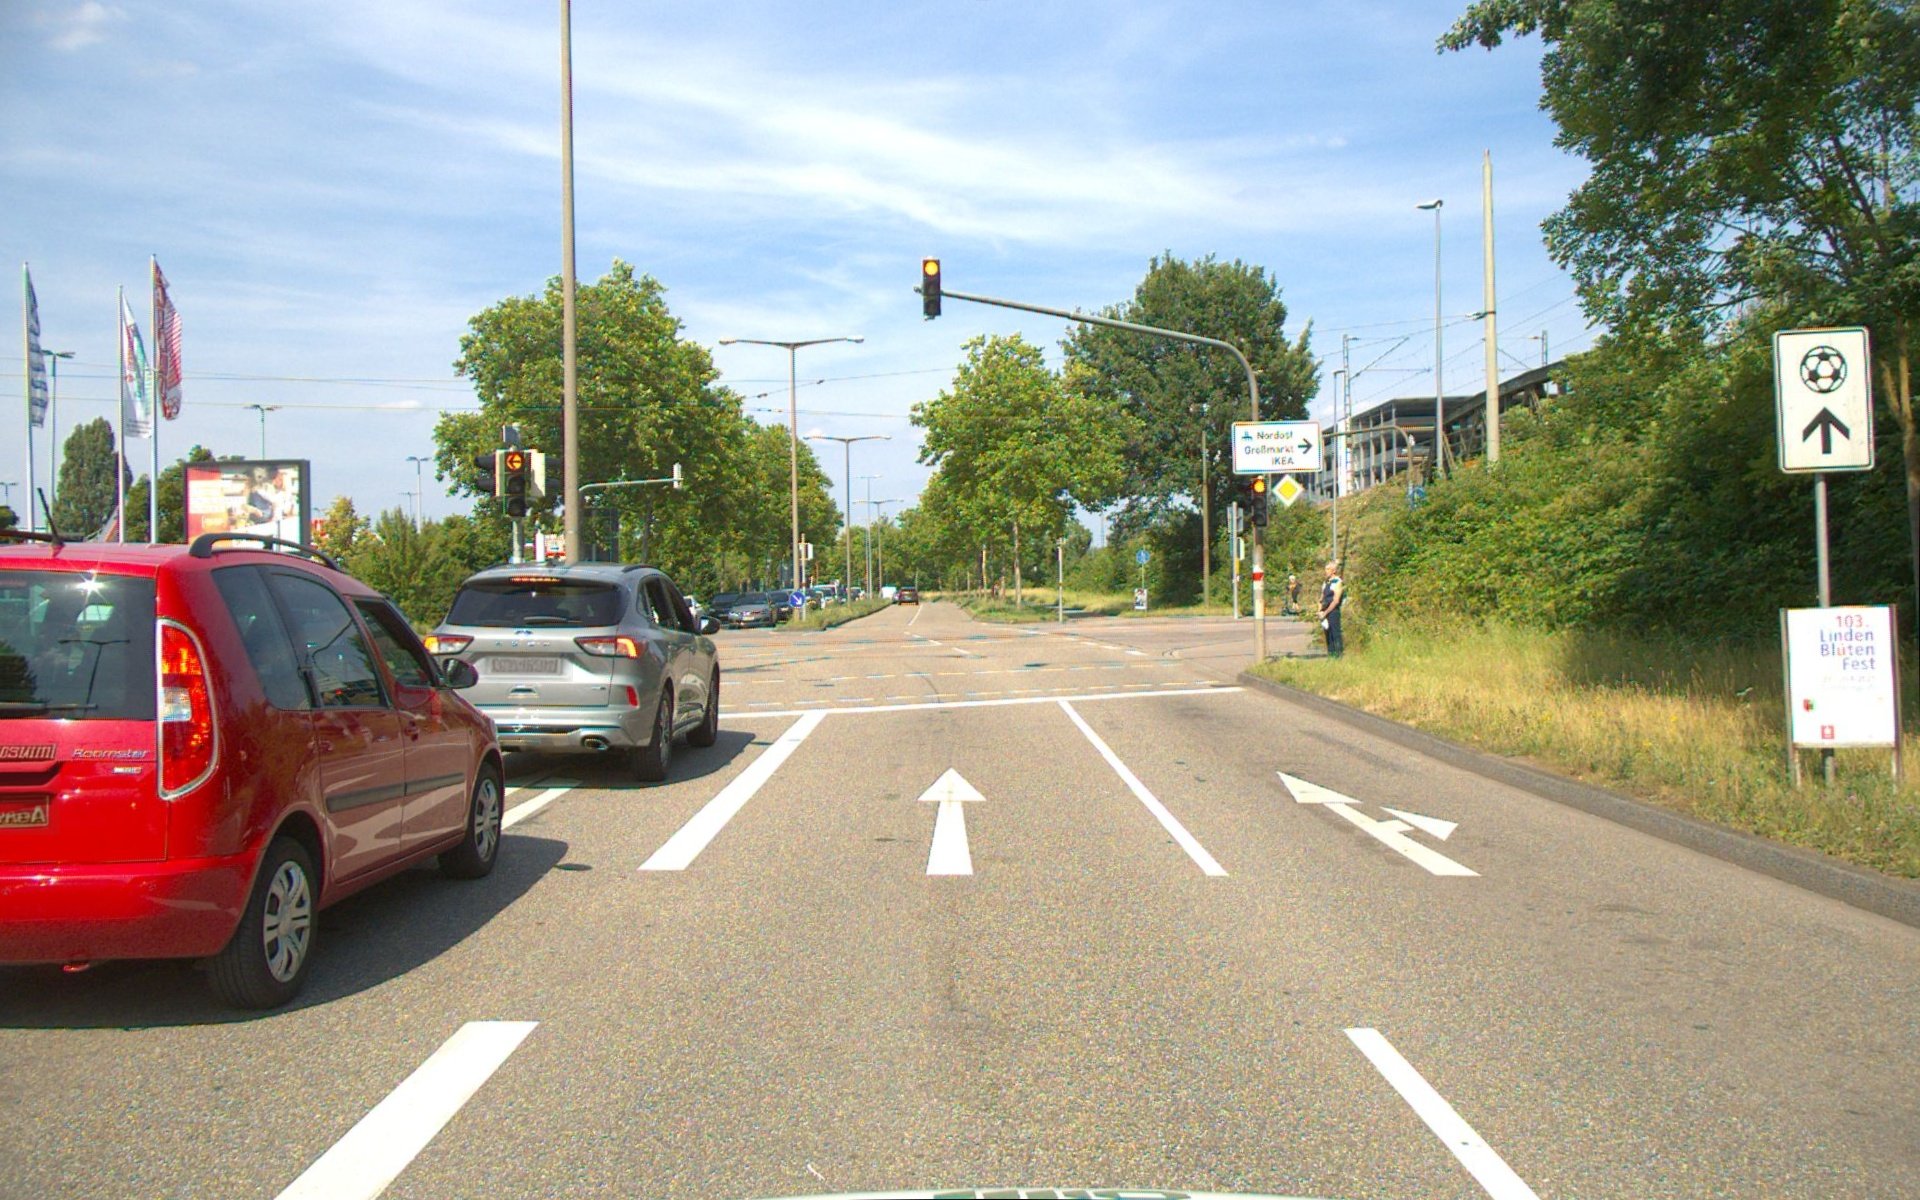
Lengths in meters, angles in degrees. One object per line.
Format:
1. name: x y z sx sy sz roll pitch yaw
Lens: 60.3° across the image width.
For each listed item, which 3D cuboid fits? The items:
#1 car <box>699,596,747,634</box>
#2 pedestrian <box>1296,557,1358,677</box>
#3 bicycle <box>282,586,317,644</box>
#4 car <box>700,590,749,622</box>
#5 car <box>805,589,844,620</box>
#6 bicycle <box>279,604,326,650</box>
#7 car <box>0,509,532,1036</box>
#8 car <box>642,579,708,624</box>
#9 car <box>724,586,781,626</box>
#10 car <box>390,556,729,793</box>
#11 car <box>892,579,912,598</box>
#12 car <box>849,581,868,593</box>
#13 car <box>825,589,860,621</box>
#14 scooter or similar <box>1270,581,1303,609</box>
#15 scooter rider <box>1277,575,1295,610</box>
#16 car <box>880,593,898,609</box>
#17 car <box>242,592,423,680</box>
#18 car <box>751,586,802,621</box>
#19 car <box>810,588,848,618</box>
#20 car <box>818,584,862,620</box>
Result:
1. car: -12.648 0.766 88.476 1.953 1.928 4.375 -1 1 -1
2. pedestrian: 6.141 0.270 27.716 0.821 1.966 0.771 -1 2 -4
3. bicycle: -19.086 0.421 47.802 0.659 1.643 0.991 -2 0 -6
4. car: -11.818 0.272 83.227 1.953 1.539 3.999 -1 1 -1
5. car: -7.541 0.224 92.382 1.864 1.624 3.999 -1 1 -1
6. bicycle: -19.111 0.758 48.114 0.659 1.278 2.244 -2 0 -6
7. car: -3.123 0.559 7.095 1.595 1.623 3.917 -1 -1 -1
8. car: -11.176 0.037 65.206 1.953 1.539 4.000 0 3 -1
9. car: -8.535 0.224 68.393 1.879 1.539 3.999 -1 1 -1
10. car: -3.115 0.510 13.756 1.843 1.646 4.212 0 0 -1
11. car: -5.231 -1.096 150.284 1.701 1.562 4.001 0 3 0
12. car: -14.977 -1.895 242.873 1.836 1.724 4.389 -1 1 -16
13. car: -7.416 0.321 104.597 1.953 1.928 4.375 -1 1 -1
14. scooter or similar: 13.741 -0.215 69.637 1.315 1.117 0.493 -1 0 4
15. scooter rider: 13.737 -0.310 69.644 0.661 1.453 0.493 -1 0 4
16. car: -7.930 0.134 184.037 1.828 1.724 4.409 -1 1 -1
17. car: -10.983 0.582 29.253 1.705 1.414 3.999 -1 1 -1
18. car: -8.393 0.127 76.004 1.953 1.527 3.999 -1 1 -1
19. car: -7.793 0.155 98.749 1.953 1.707 3.999 -1 1 -1
20. car: -5.996 0.063 82.787 1.953 1.725 3.999 -1 1 -1
